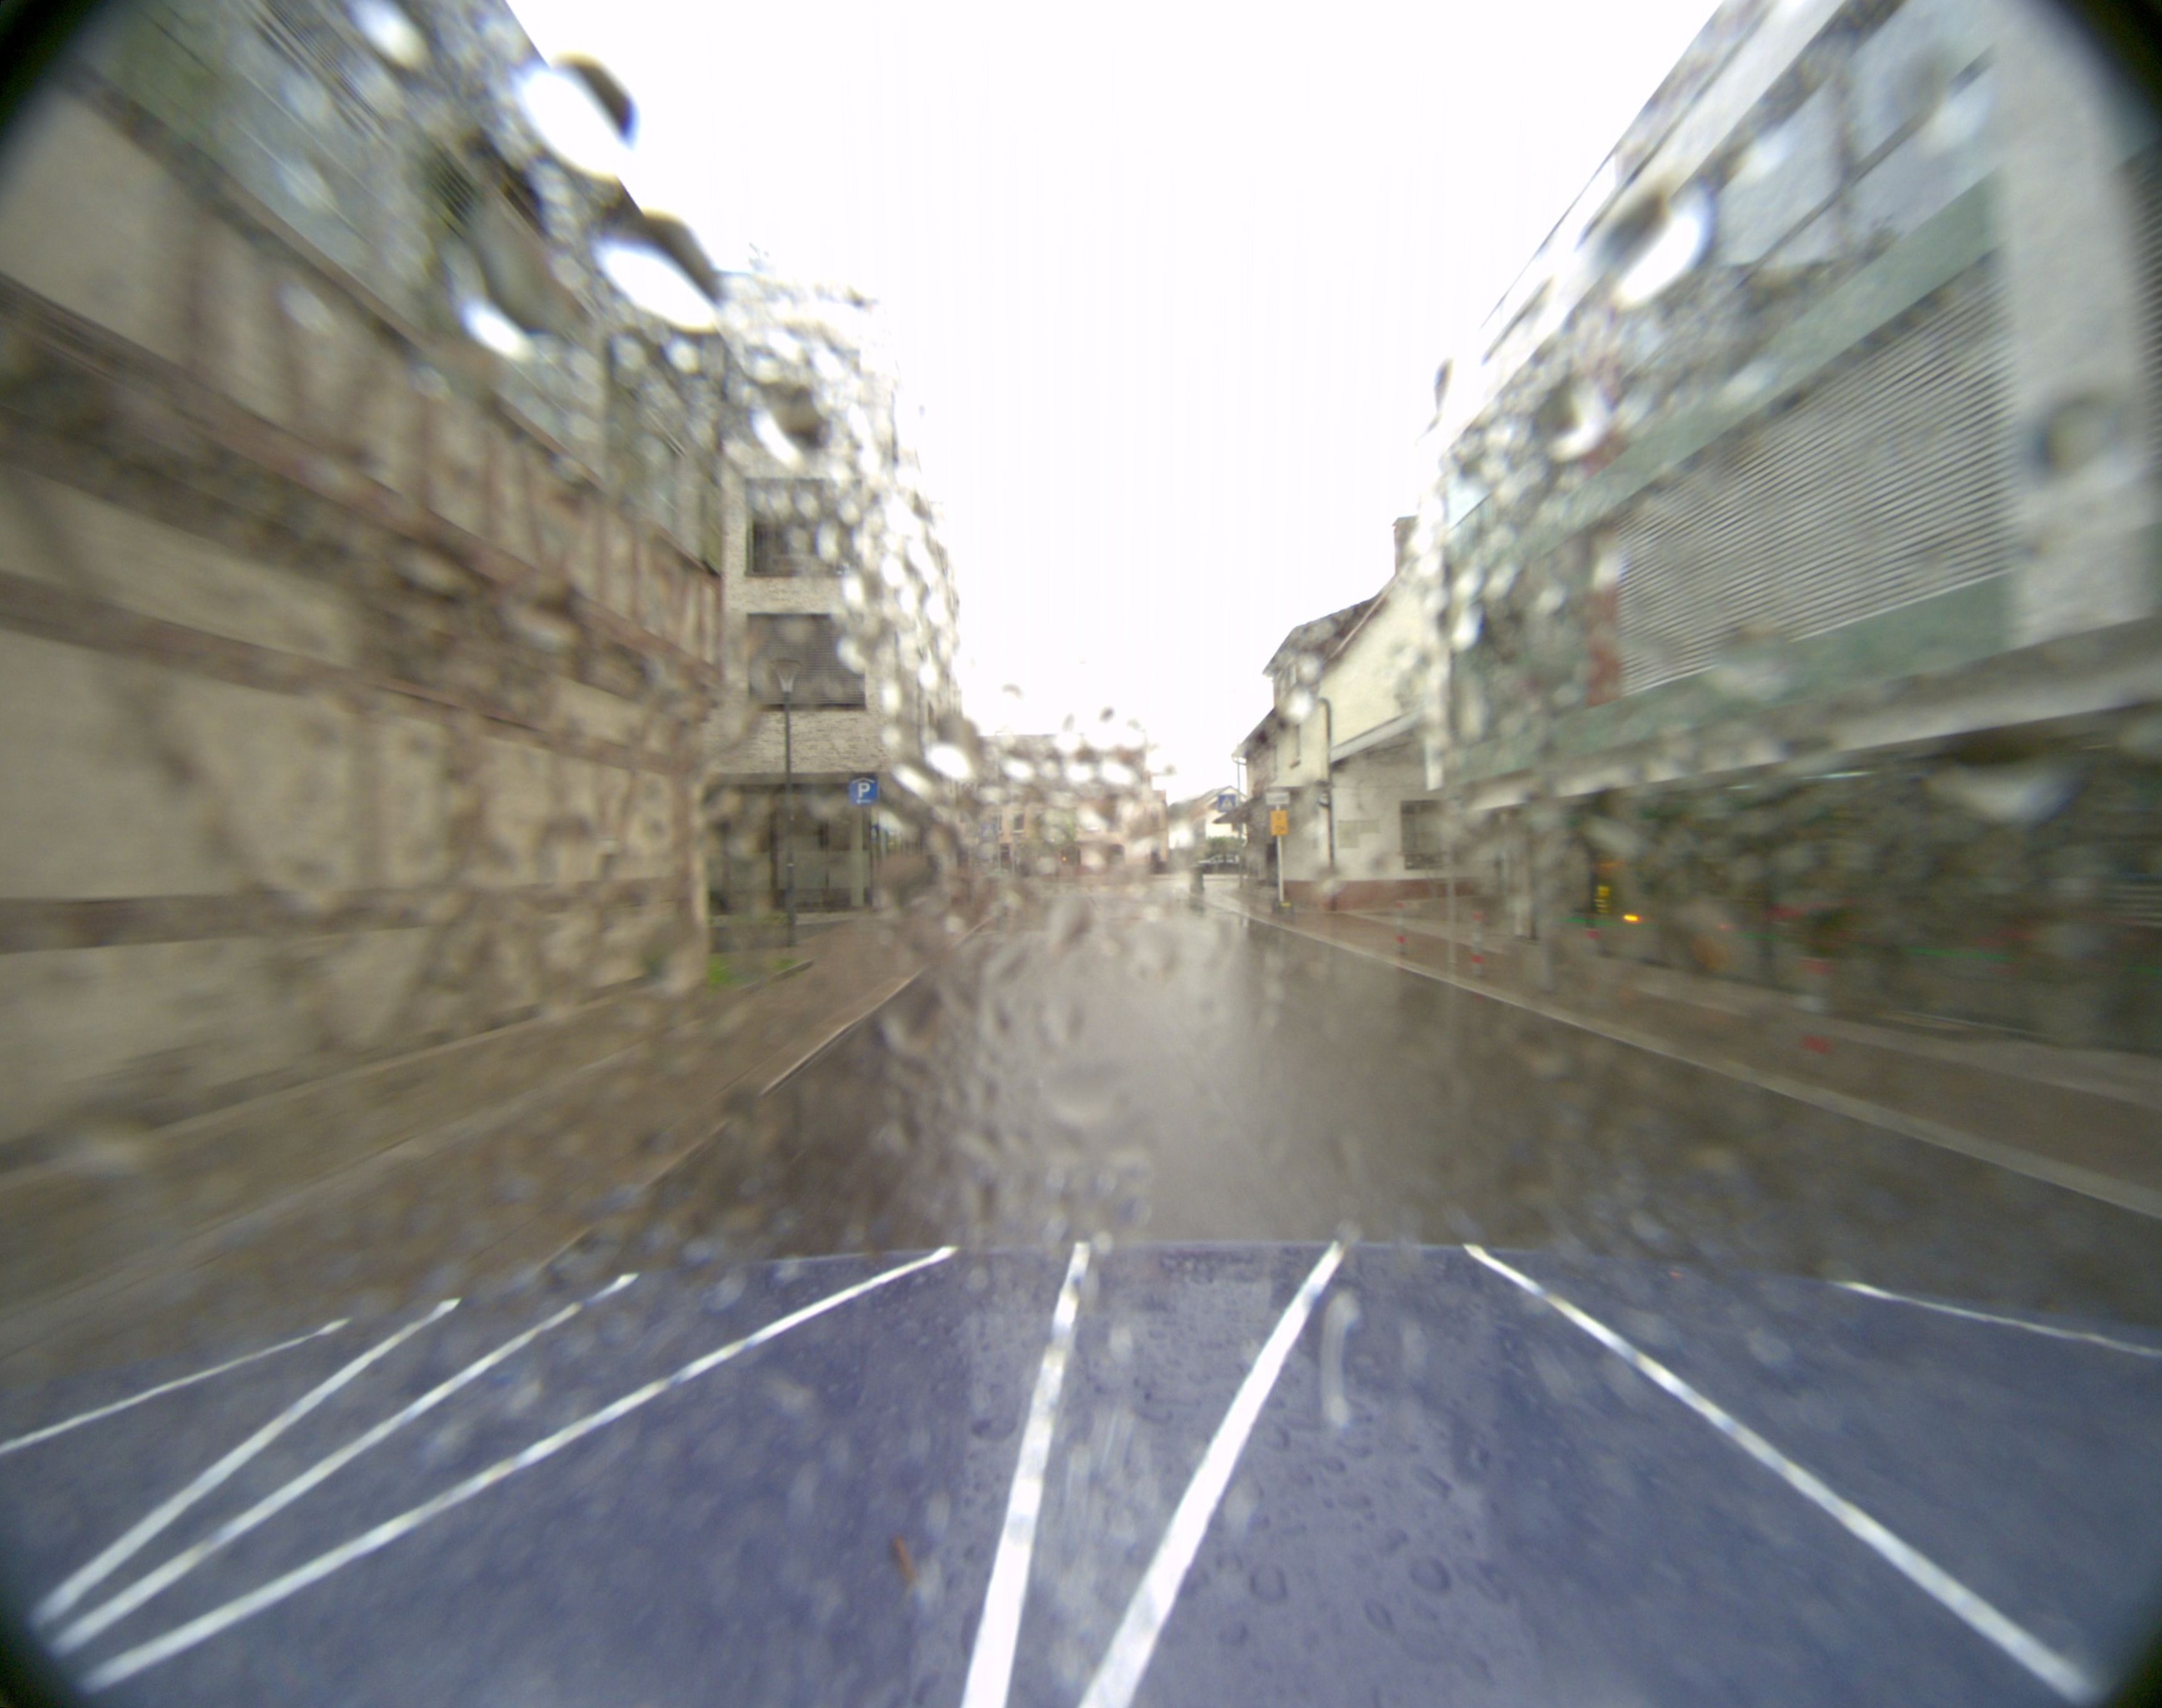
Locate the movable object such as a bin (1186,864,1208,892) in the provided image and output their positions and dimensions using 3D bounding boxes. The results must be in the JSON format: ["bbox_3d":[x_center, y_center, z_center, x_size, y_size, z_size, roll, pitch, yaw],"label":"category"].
[{"bbox_3d":[4.658,0.961,30.571,0.689,1.075,0.760,-4,1,-3],"label":"movable object such as a bin"}]

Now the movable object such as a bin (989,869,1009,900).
[{"bbox_3d":[-2.964,1.103,27.481,0.665,1.089,0.551,0,1,-3],"label":"movable object such as a bin"}]

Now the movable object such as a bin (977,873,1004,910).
[{"bbox_3d":[-2.773,1.134,23.271,0.768,1.089,0.581,0,0,-2],"label":"movable object such as a bin"}]

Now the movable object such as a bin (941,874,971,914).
[{"bbox_3d":[-3.565,1.141,21.766,0.768,1.089,0.627,0,0,-2],"label":"movable object such as a bin"}]

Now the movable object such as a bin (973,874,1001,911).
[{"bbox_3d":[-2.786,1.145,22.650,0.768,1.089,0.581,0,0,-2],"label":"movable object such as a bin"}]

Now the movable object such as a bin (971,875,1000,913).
[{"bbox_3d":[-2.770,1.151,22.057,0.768,1.089,0.581,0,0,-2],"label":"movable object such as a bin"}]

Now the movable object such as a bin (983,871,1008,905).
[{"bbox_3d":[-2.828,1.128,25.073,0.768,1.089,0.581,0,0,-2],"label":"movable object such as a bin"}]

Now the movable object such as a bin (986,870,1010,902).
[{"bbox_3d":[-2.855,1.108,26.263,0.768,1.089,0.581,0,0,-2],"label":"movable object such as a bin"}]

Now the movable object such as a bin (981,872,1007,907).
[{"bbox_3d":[-2.801,1.135,24.473,0.768,1.089,0.581,0,0,-2],"label":"movable object such as a bin"}]

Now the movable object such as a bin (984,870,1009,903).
[{"bbox_3d":[-2.849,1.104,25.659,0.768,1.089,0.581,0,0,-2],"label":"movable object such as a bin"}]

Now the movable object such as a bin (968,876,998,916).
[{"bbox_3d":[-2.750,1.164,21.285,0.768,1.089,0.581,0,0,-2],"label":"movable object such as a bin"}]

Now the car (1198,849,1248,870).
[{"bbox_3d":[13.643,0.520,72.848,4.479,2.002,2.003,0,0,16],"label":"car"}]

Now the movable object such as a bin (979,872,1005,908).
[{"bbox_3d":[-2.792,1.130,23.864,0.768,1.089,0.581,0,0,-2],"label":"movable object such as a bin"}]
